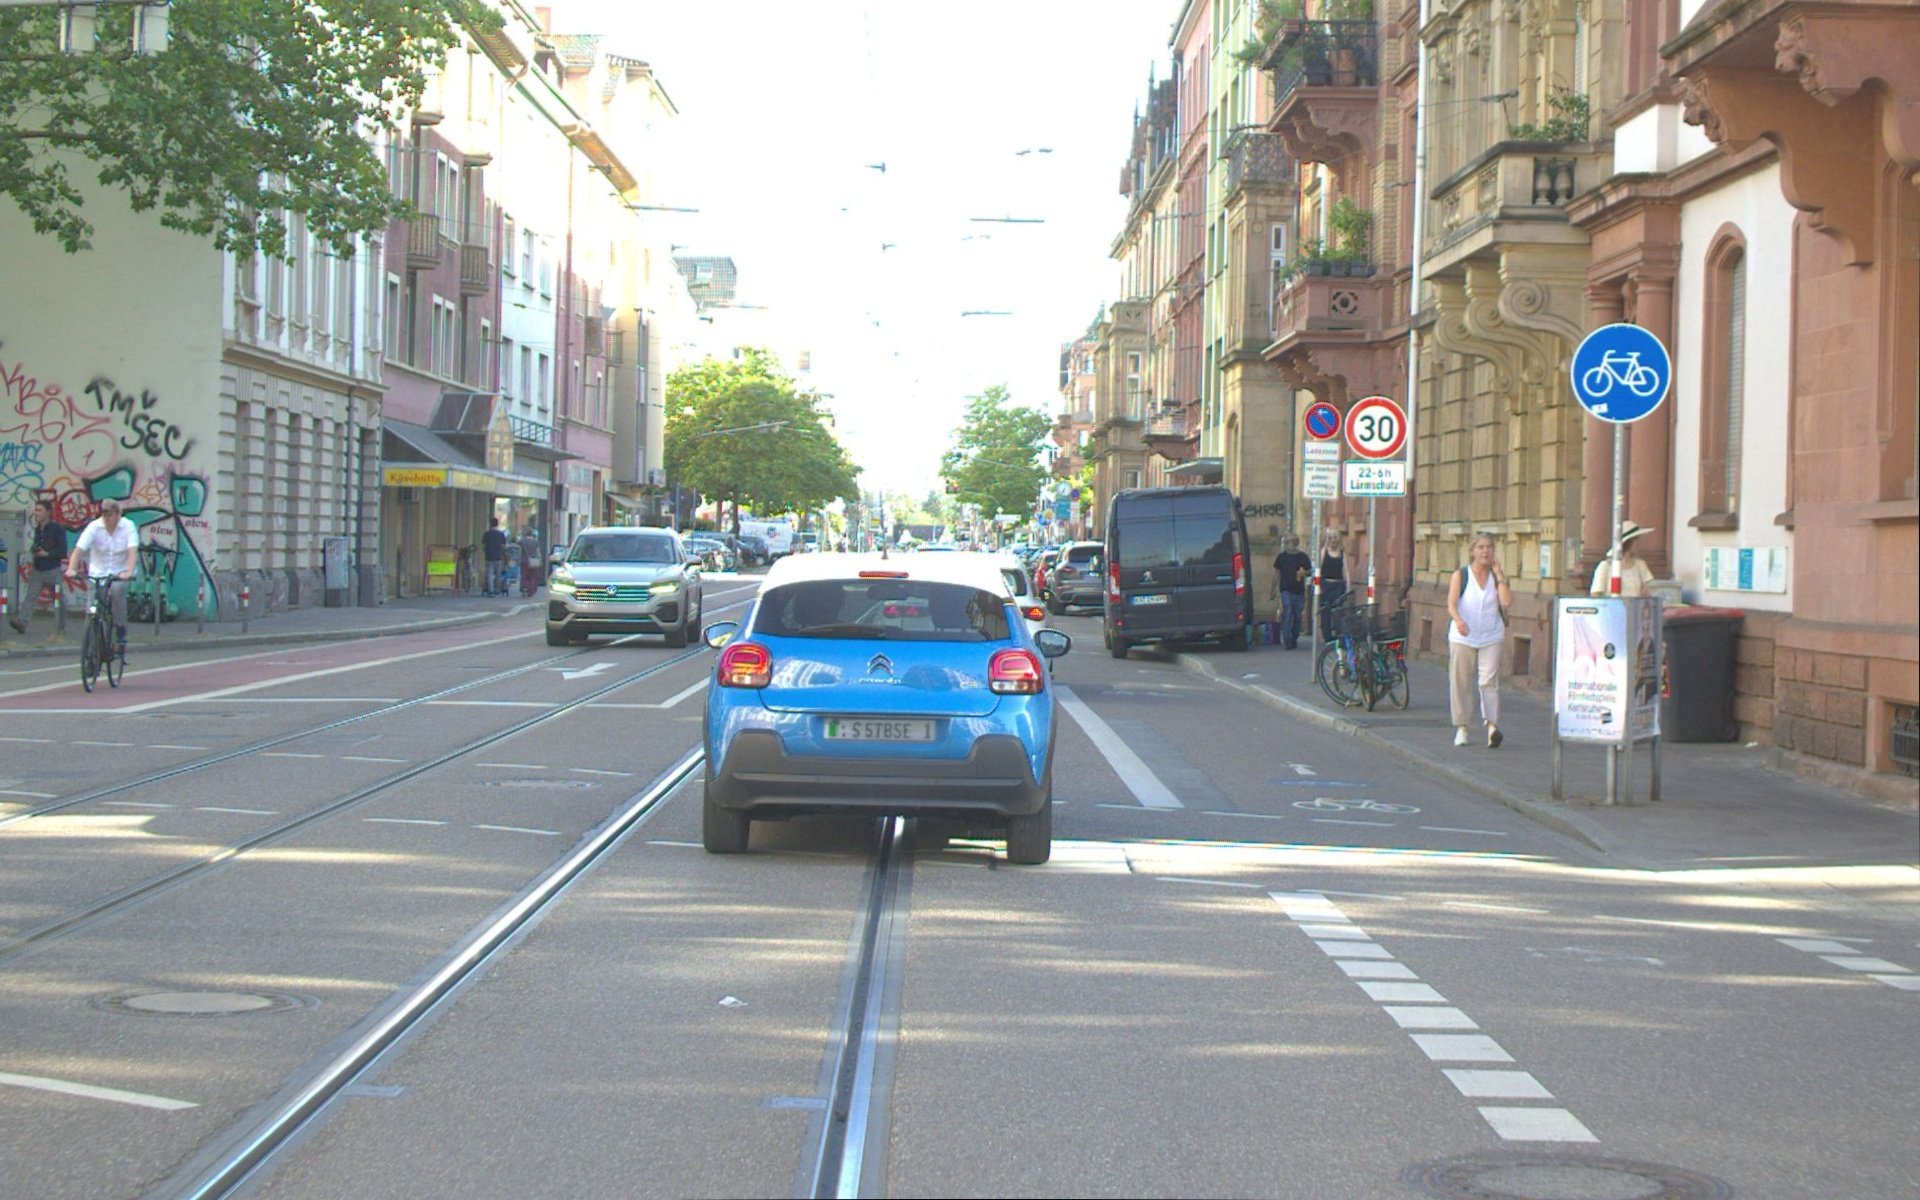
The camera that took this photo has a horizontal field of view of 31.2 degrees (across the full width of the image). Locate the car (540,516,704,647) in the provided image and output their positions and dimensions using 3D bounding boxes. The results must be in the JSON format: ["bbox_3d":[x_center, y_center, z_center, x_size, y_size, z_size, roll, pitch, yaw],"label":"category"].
[{"bbox_3d":[-4.811,-0.294,49.463,1.993,1.738,4.563,1,1,-2],"label":"car"}]

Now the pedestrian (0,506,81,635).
[{"bbox_3d":[-12.828,-0.410,47.977,0.682,1.759,1.025,2,1,10],"label":"pedestrian"}]

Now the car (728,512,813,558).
[{"bbox_3d":[-10.701,-3.680,194.021,4.307,2.572,2.210,-1,1,-26],"label":"car"}]

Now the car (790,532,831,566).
[{"bbox_3d":[-7.613,-2.599,174.910,1.993,1.645,4.000,1,1,-1],"label":"car"}]

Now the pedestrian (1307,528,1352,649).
[{"bbox_3d":[5.501,-0.181,51.185,0.553,1.776,0.606,1,1,-2],"label":"pedestrian"}]

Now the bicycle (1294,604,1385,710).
[{"bbox_3d":[3.615,0.535,32.848,0.431,0.944,1.764,1,1,-8],"label":"bicycle"}]

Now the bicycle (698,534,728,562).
[{"bbox_3d":[-10.422,-2.183,145.115,1.120,1.142,3.645,1,1,-6],"label":"bicycle"}]

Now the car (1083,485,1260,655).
[{"bbox_3d":[3.201,-0.486,53.297,2.271,2.428,5.720,2,1,-1],"label":"car"}]

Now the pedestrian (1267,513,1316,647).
[{"bbox_3d":[5.014,-0.305,52.075,0.585,2.007,0.823,1,1,-2],"label":"pedestrian"}]

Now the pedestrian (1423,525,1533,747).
[{"bbox_3d":[4.031,0.270,26.805,0.626,1.695,0.682,1,1,-9],"label":"pedestrian"}]

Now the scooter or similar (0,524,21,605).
[{"bbox_3d":[-14.892,-0.557,52.632,0.937,1.218,0.768,1,1,-12],"label":"scooter or similar"}]

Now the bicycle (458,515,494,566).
[{"bbox_3d":[-11.346,-1.401,80.542,0.621,1.155,2.066,1,1,-14],"label":"bicycle"}]

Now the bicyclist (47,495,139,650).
[{"bbox_3d":[-8.457,-0.269,33.547,0.682,1.478,0.778,1,1,-1],"label":"bicyclist"}]

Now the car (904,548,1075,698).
[{"bbox_3d":[0.266,0.200,36.747,1.667,1.473,4.000,1,1,-2],"label":"car"}]

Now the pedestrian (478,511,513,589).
[{"bbox_3d":[-10.627,-1.139,78.681,0.710,1.758,0.570,1,1,-1],"label":"pedestrian"}]

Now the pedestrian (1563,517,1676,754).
[{"bbox_3d":[5.038,0.262,26.280,0.705,1.776,0.673,-1,1,-2],"label":"pedestrian"}]

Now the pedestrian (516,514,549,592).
[{"bbox_3d":[-9.808,-1.081,78.857,0.710,1.758,0.655,1,1,-9],"label":"pedestrian"}]

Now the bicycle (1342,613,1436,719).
[{"bbox_3d":[4.097,0.619,32.904,0.431,0.944,1.764,1,1,-8],"label":"bicycle"}]

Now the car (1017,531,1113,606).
[{"bbox_3d":[2.425,-0.754,80.484,2.005,1.667,4.806,1,1,-1],"label":"car"}]

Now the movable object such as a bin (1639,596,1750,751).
[{"bbox_3d":[5.831,0.578,27.314,0.666,1.149,0.594,-4,2,-1],"label":"movable object such as a bin"}]

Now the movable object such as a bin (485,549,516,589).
[{"bbox_3d":[-10.620,-0.720,79.402,0.610,0.911,0.695,1,1,-1],"label":"movable object such as a bin"}]

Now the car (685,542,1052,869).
[{"bbox_3d":[-0.390,0.460,17.992,1.674,1.472,4.000,2,1,1],"label":"car"}]

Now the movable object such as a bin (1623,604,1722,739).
[{"bbox_3d":[5.793,0.575,27.971,0.666,1.073,0.571,0,1,-1],"label":"movable object such as a bin"}]

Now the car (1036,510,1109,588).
[{"bbox_3d":[3.409,-1.564,104.576,2.005,1.666,4.393,3,9,0],"label":"car"}]

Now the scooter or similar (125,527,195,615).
[{"bbox_3d":[-12.380,-0.458,53.241,0.788,1.267,1.075,4,2,-2],"label":"scooter or similar"}]

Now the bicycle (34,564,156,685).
[{"bbox_3d":[-8.460,0.218,33.703,0.692,1.116,2.084,1,1,-1],"label":"bicycle"}]

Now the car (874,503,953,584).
[{"bbox_3d":[-1.237,-1.479,89.793,1.993,2.007,4.000,1,1,-1],"label":"car"}]
